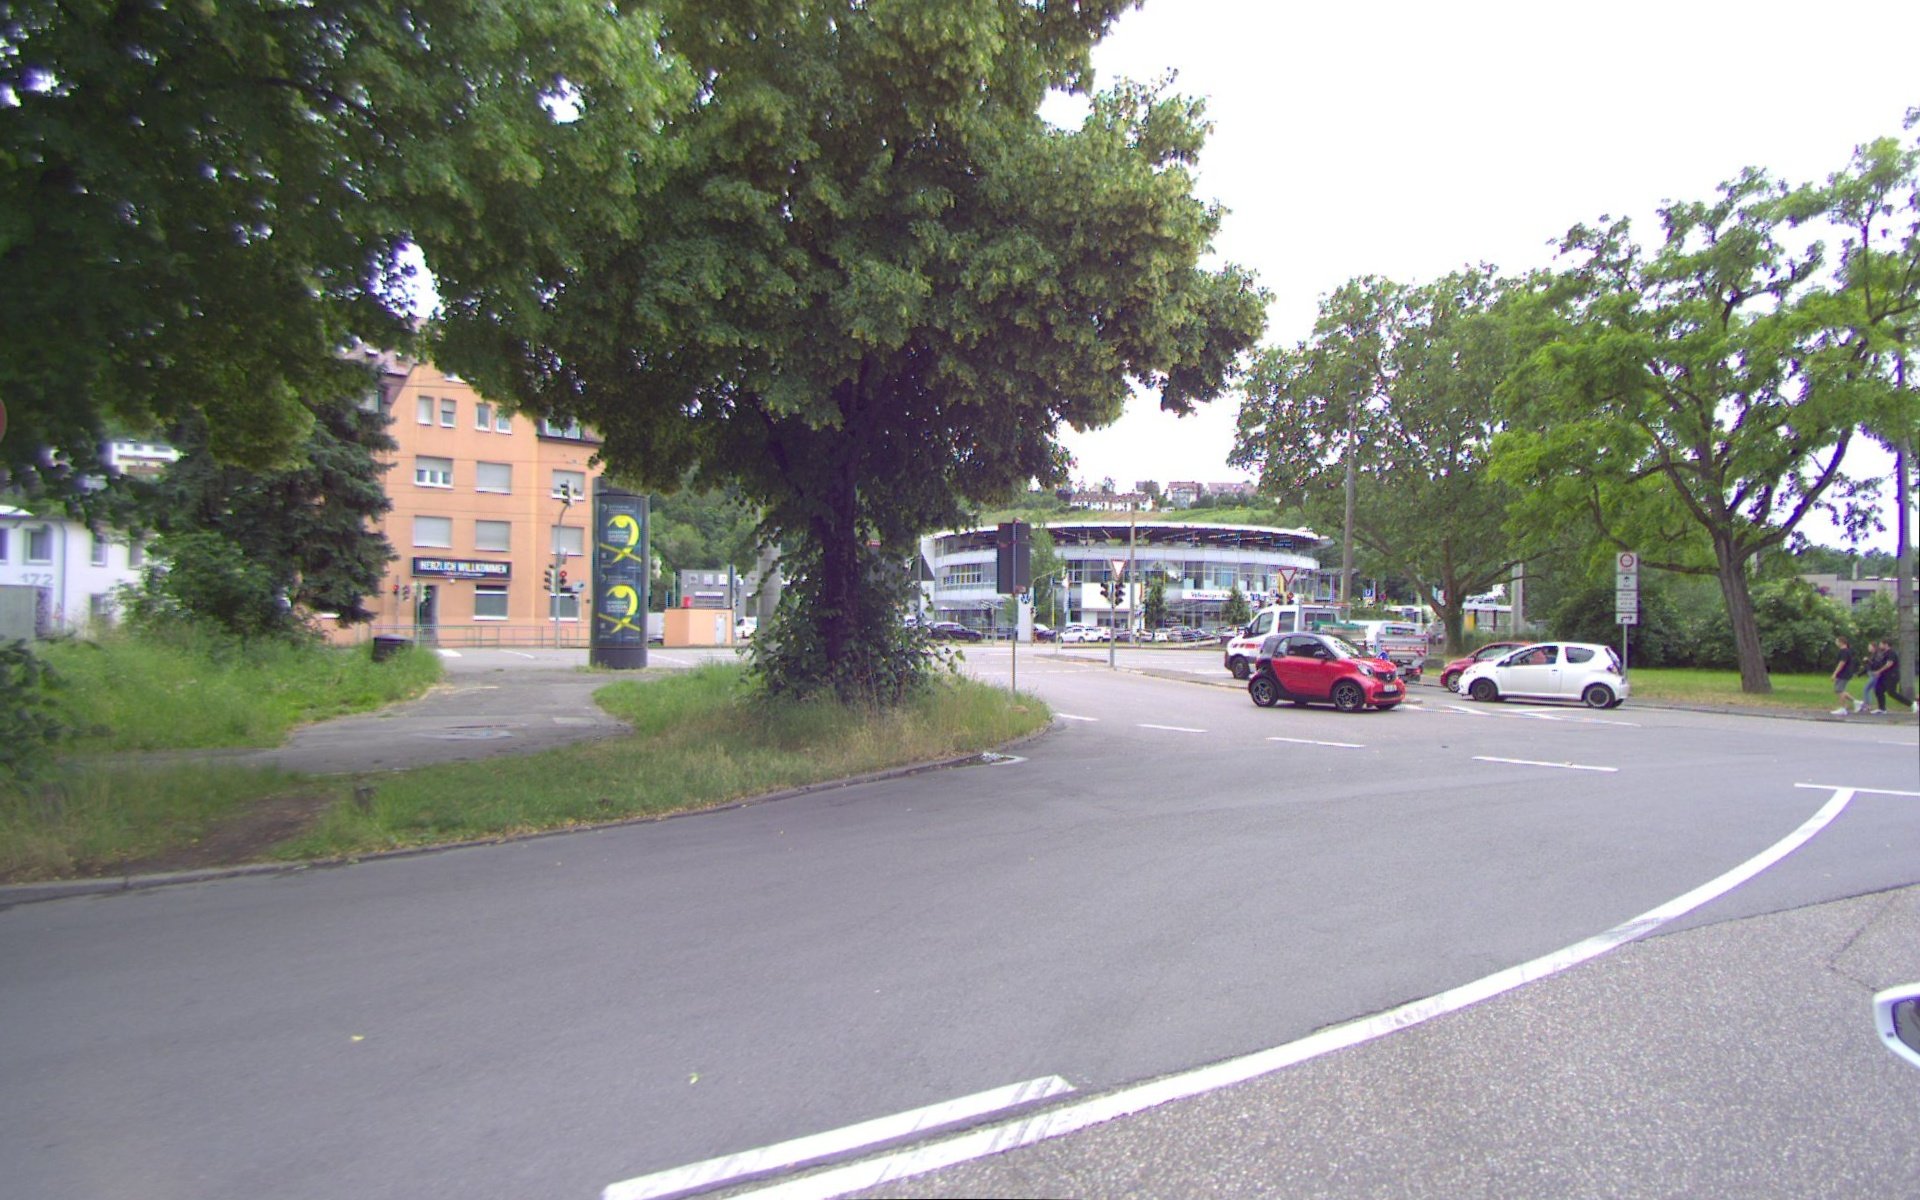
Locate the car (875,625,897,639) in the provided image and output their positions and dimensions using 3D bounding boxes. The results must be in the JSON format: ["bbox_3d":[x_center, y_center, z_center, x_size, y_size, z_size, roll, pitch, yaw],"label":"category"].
[{"bbox_3d":[-8.172,3.505,110.663,1.745,1.553,4.080,1,-2,-13],"label":"car"}]

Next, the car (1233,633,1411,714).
[{"bbox_3d":[7.323,1.426,20.456,1.704,1.484,2.984,2,-2,-41],"label":"car"}]

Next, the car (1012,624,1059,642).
[{"bbox_3d":[6.546,2.872,87.052,3.825,1.520,1.767,0,-2,41],"label":"car"}]

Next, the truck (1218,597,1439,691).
[{"bbox_3d":[10.522,1.220,29.297,2.400,2.429,5.983,1,-2,-29],"label":"truck"}]

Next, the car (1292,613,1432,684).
[{"bbox_3d":[12.980,1.530,32.790,1.961,2.135,4.751,1,-2,-12],"label":"car"}]

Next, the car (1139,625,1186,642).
[{"bbox_3d":[19.644,3.245,97.465,1.784,1.511,4.159,2,-2,-44],"label":"car"}]

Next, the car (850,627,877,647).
[{"bbox_3d":[-9.283,3.504,96.366,1.966,1.840,3.989,1,-1,-15],"label":"car"}]

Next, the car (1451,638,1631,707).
[{"bbox_3d":[13.524,1.636,23.454,3.382,1.451,1.635,-1,-2,43],"label":"car"}]

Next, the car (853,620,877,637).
[{"bbox_3d":[-9.171,2.761,96.299,1.745,1.553,4.080,1,-2,-13],"label":"car"}]

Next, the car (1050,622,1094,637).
[{"bbox_3d":[11.457,3.027,103.128,4.139,1.511,1.793,0,-2,30],"label":"car"}]

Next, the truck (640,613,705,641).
[{"bbox_3d":[-25.487,2.435,89.187,5.166,2.425,1.974,2,-2,-44],"label":"truck"}]

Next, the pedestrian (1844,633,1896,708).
[{"bbox_3d":[22.022,1.680,24.310,0.688,1.763,0.781,1,-2,-35],"label":"pedestrian"}]

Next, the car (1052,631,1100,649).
[{"bbox_3d":[10.367,3.604,89.731,3.966,1.520,1.765,0,-2,43],"label":"car"}]

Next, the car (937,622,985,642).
[{"bbox_3d":[0.123,2.586,80.956,3.804,1.520,1.776,1,-1,1],"label":"car"}]

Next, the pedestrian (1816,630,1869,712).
[{"bbox_3d":[20.816,1.651,23.698,0.688,1.882,0.781,1,-2,-35],"label":"pedestrian"}]

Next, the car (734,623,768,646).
[{"bbox_3d":[-17.333,2.827,83.139,1.840,1.841,4.375,2,-2,-25],"label":"car"}]

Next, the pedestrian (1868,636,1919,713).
[{"bbox_3d":[21.789,1.717,23.411,0.688,1.737,0.781,1,-2,-35],"label":"pedestrian"}]

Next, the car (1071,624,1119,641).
[{"bbox_3d":[12.231,2.931,91.215,1.784,1.511,4.159,2,-2,-44],"label":"car"}]

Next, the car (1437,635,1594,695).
[{"bbox_3d":[14.930,1.732,27.173,1.623,1.476,3.407,3,-2,-27],"label":"car"}]

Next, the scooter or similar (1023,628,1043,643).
[{"bbox_3d":[6.099,2.956,83.912,1.643,1.193,0.467,1,-1,-9],"label":"scooter or similar"}]

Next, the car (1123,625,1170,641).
[{"bbox_3d":[17.806,3.148,96.045,1.784,1.511,4.159,2,-2,-44],"label":"car"}]
